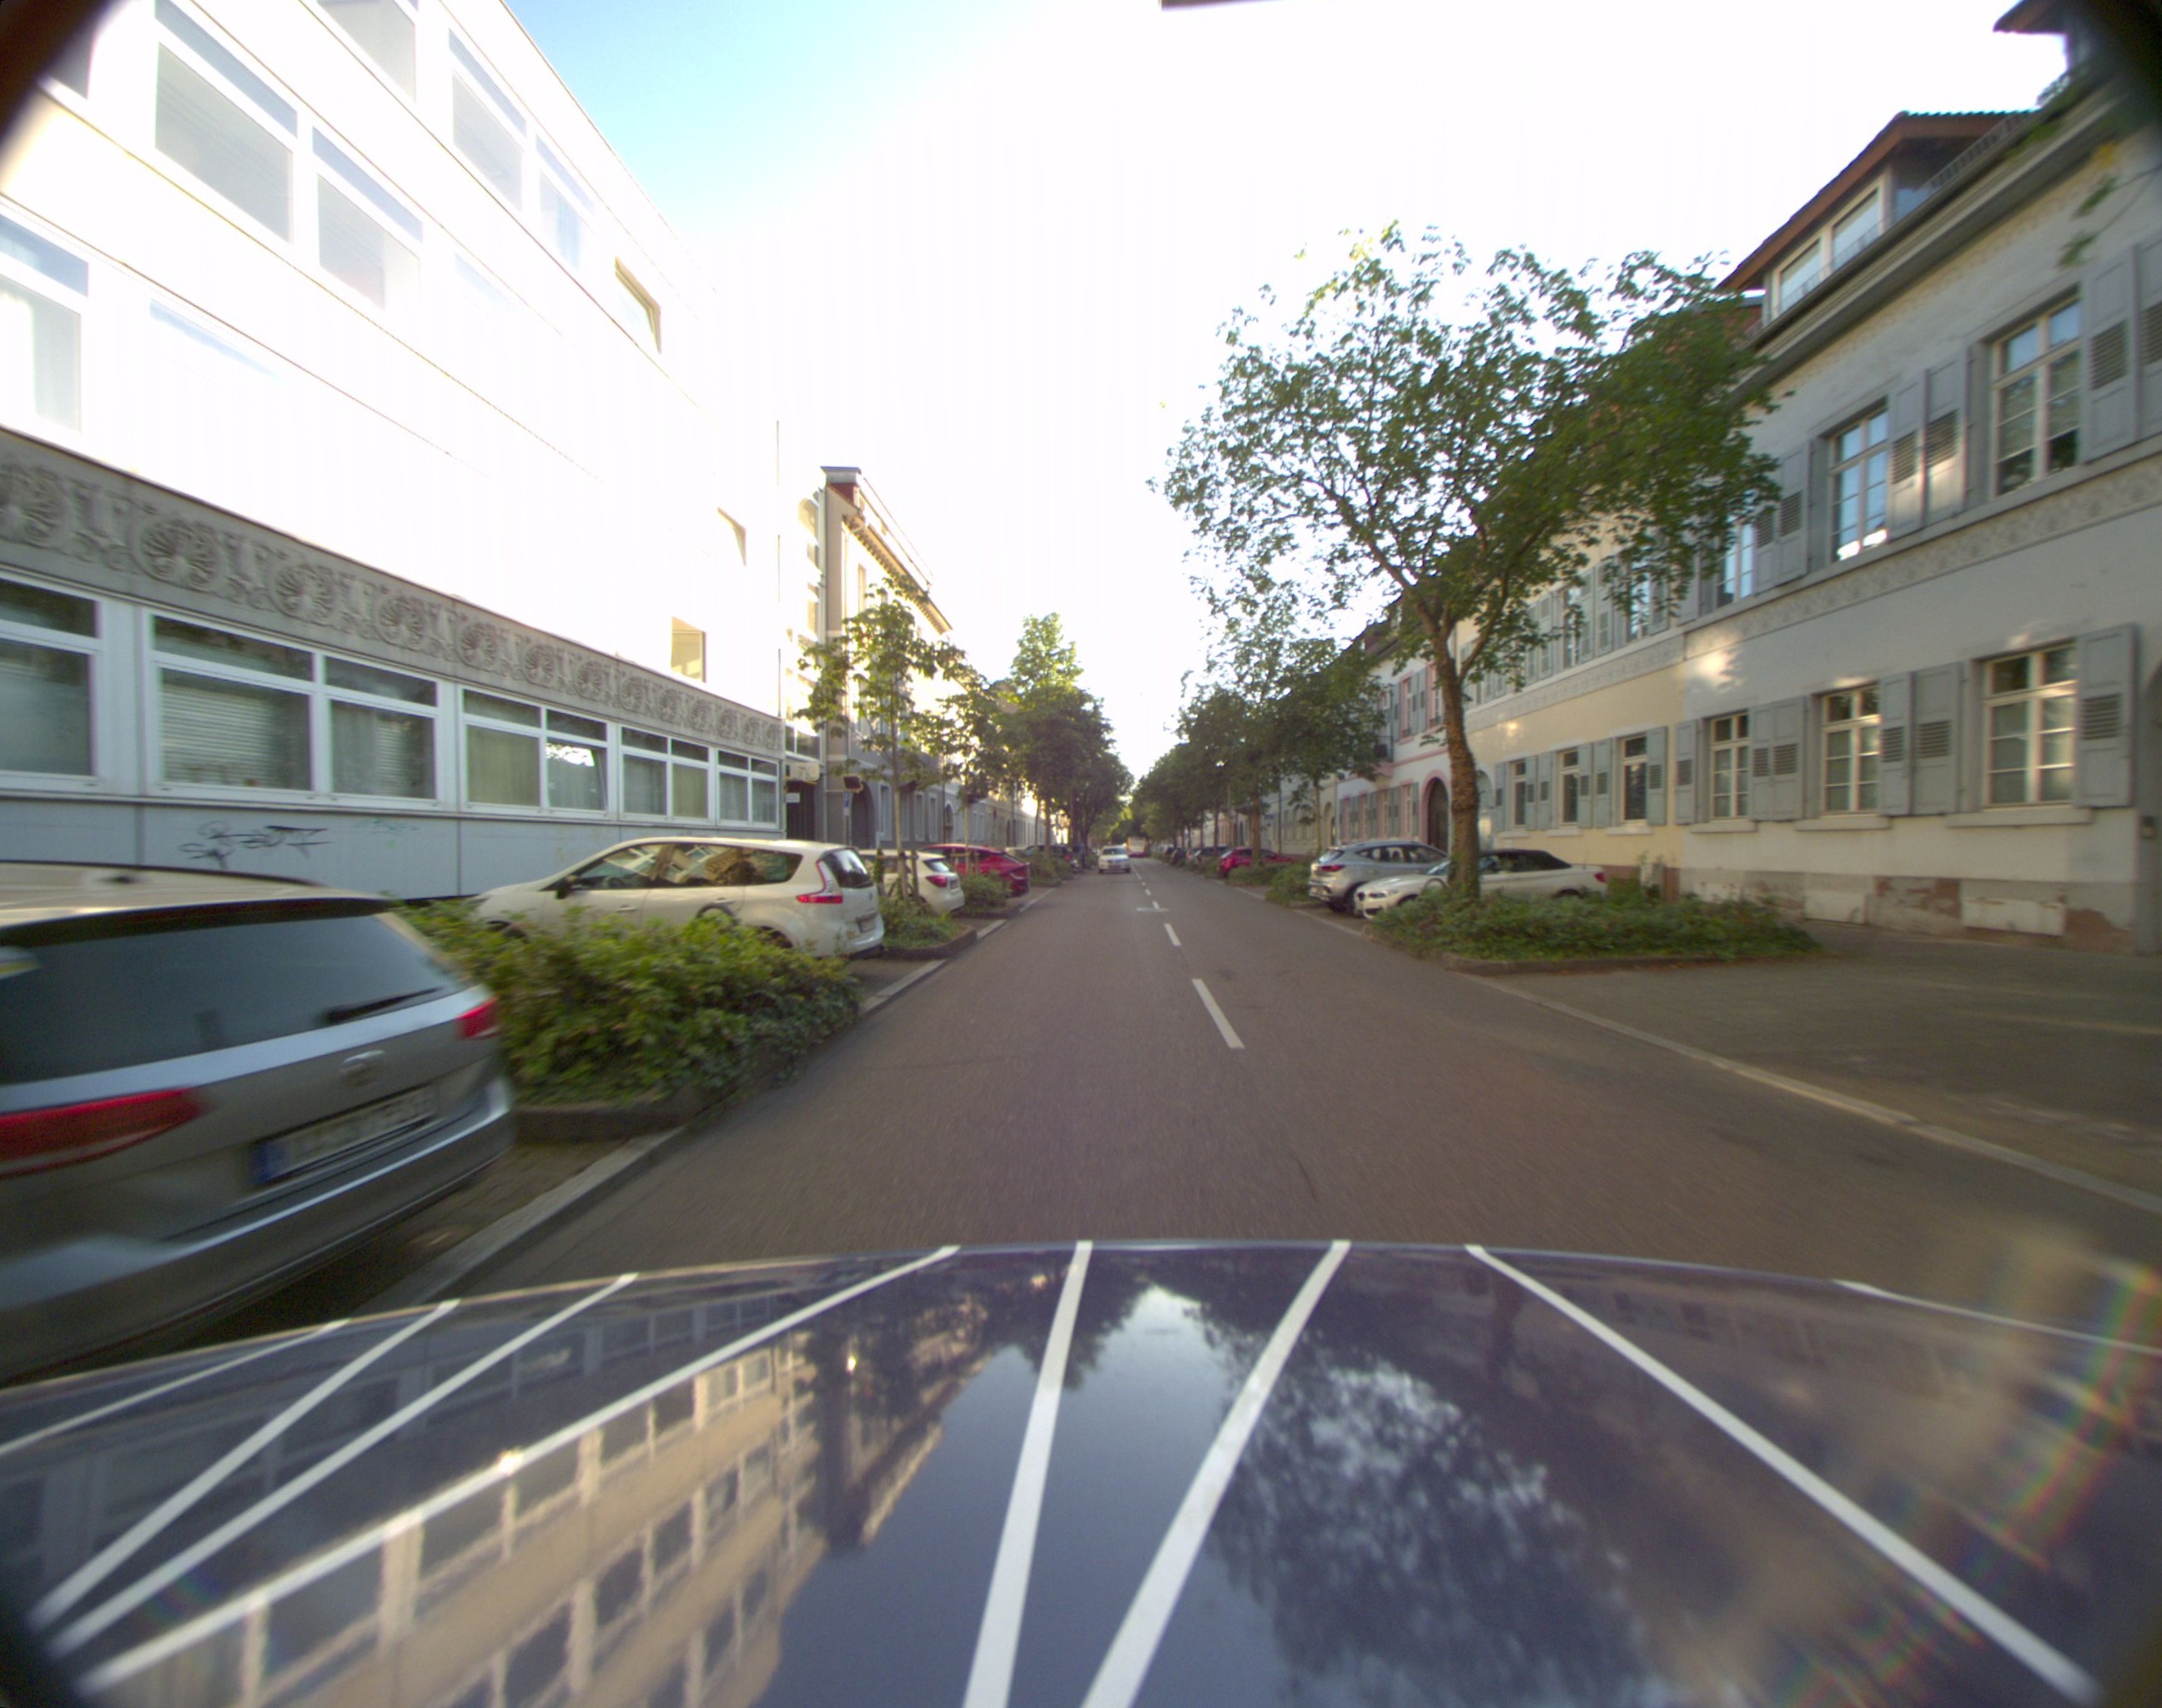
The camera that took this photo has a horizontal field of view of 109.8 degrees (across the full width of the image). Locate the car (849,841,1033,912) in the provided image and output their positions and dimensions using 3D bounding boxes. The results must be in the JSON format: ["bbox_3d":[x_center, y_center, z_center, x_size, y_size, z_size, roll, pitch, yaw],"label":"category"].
[{"bbox_3d":[-3.503,0.541,19.555,4.368,1.615,1.733,2,1,1],"label":"car"}]

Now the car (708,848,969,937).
[{"bbox_3d":[-4.510,0.679,14.590,4.368,1.485,1.887,1,1,1],"label":"car"}]

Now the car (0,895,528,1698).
[{"bbox_3d":[-4.363,0.914,2.187,4.367,1.487,1.672,2,1,3],"label":"car"}]

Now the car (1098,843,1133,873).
[{"bbox_3d":[2.100,0.197,45.604,1.956,1.667,4.543,0,1,3],"label":"car"}]

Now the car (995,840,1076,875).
[{"bbox_3d":[-2.490,0.169,42.455,4.368,1.768,1.733,2,1,1],"label":"car"}]

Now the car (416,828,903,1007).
[{"bbox_3d":[-4.496,0.625,8.665,4.368,1.633,2.054,2,1,1],"label":"car"}]

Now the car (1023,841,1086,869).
[{"bbox_3d":[-1.845,0.049,54.077,4.368,1.863,1.733,1,1,1],"label":"car"}]
